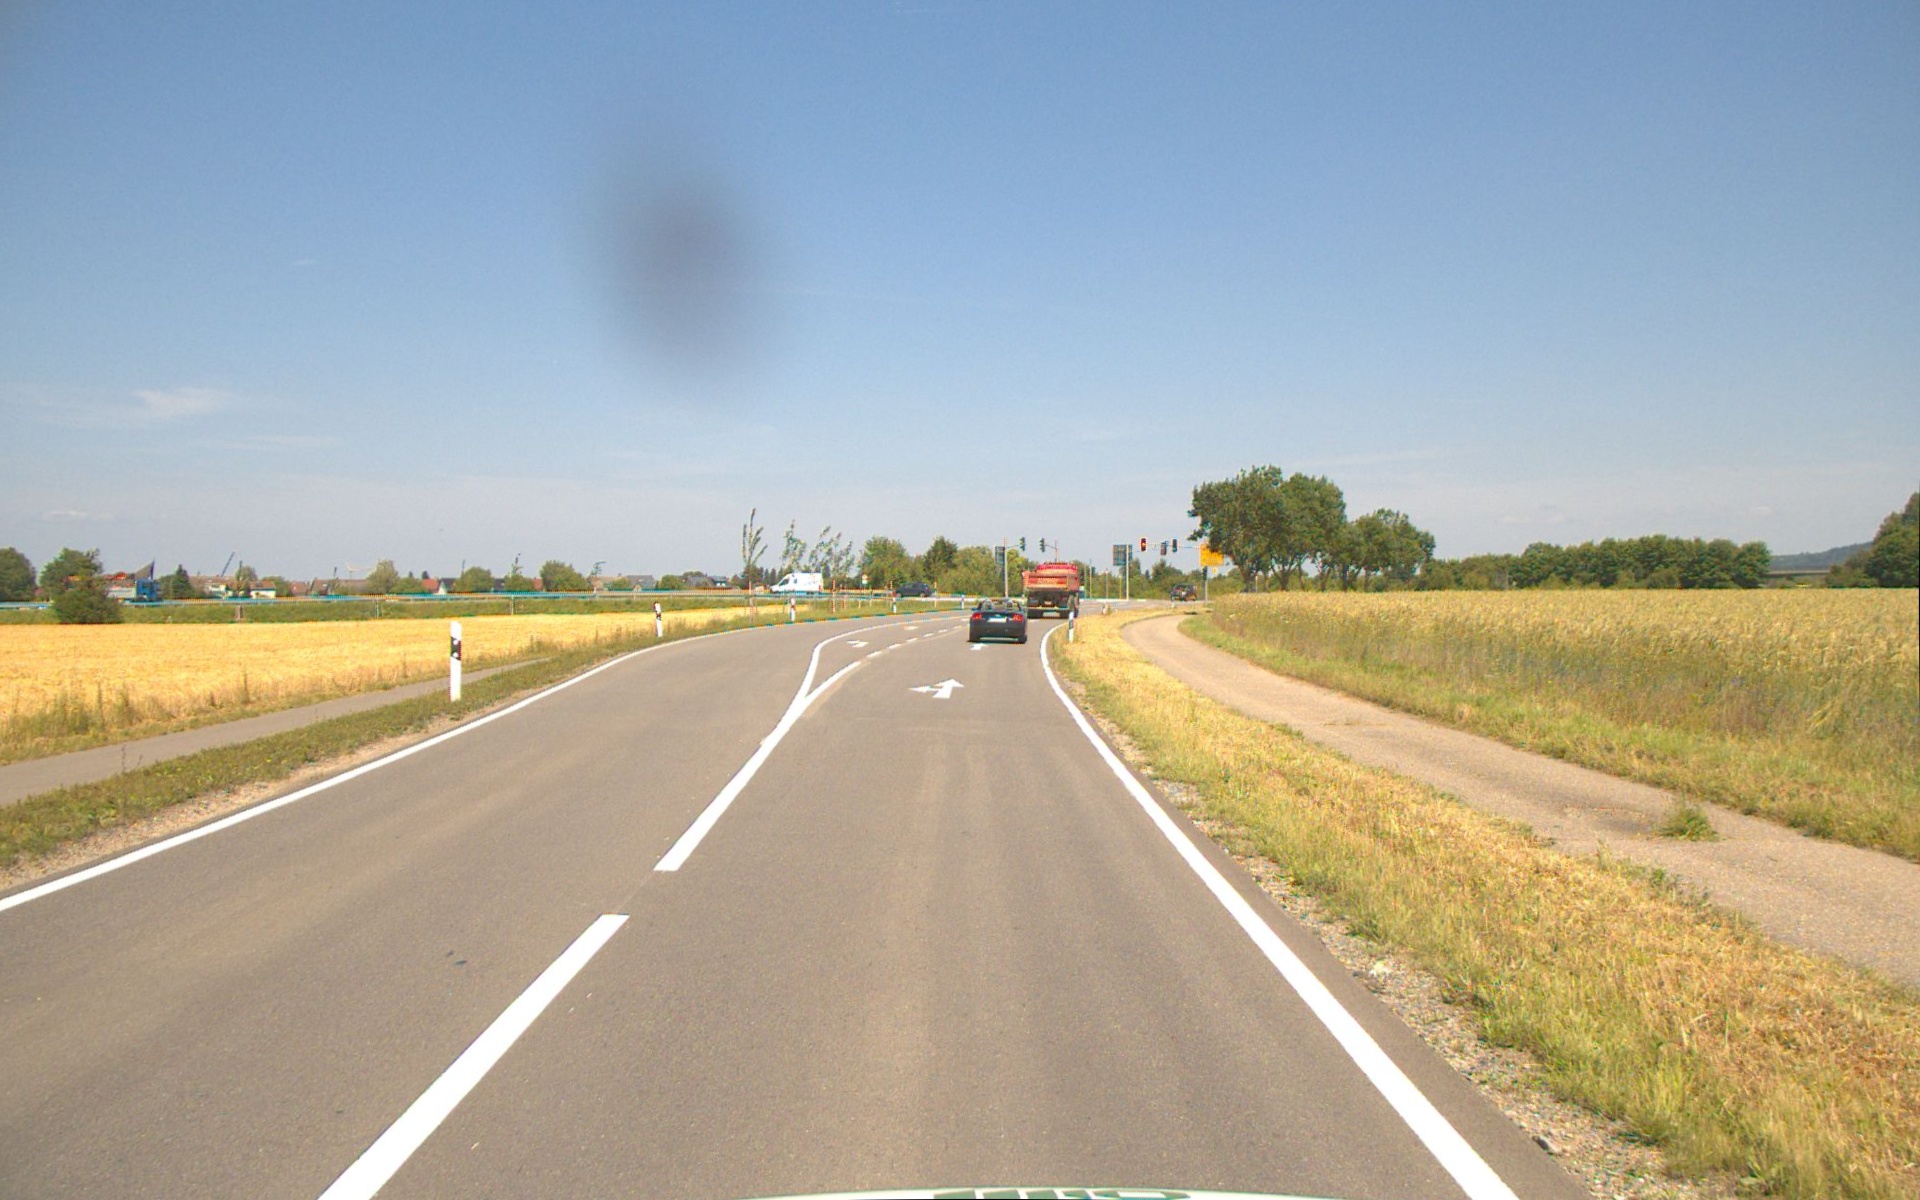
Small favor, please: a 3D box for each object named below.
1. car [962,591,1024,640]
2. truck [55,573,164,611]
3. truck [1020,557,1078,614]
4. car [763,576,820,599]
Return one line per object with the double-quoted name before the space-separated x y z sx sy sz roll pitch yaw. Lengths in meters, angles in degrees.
"car" 1.041 0.486 50.898 1.711 1.400 3.680 1 -1 4
"truck" -89.622 -0.845 174.371 9.887 3.859 2.622 0 0 -7
"truck" 5.143 -0.745 94.684 2.656 3.106 8.170 0 -1 8
"car" -18.172 -1.365 178.990 5.792 2.464 2.249 0 1 6
